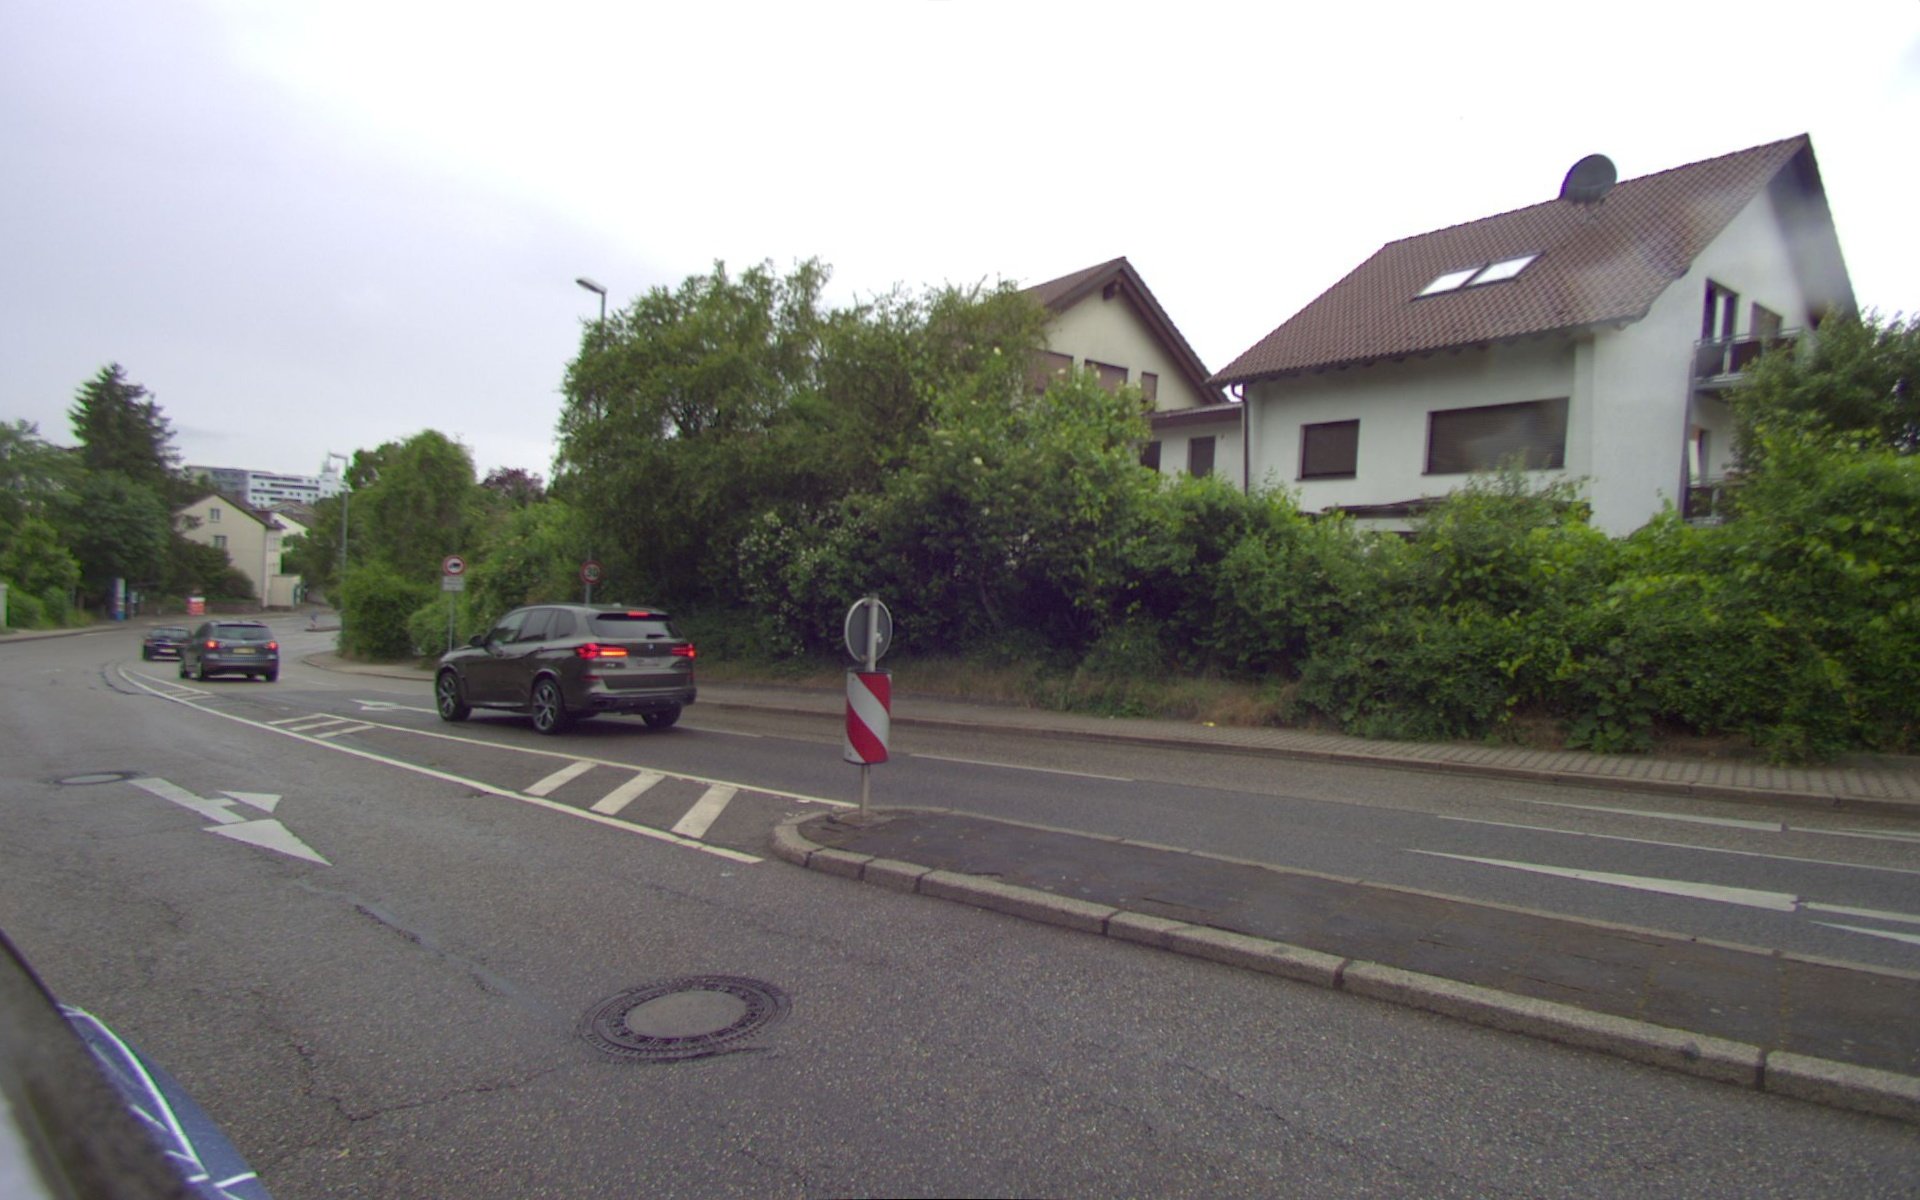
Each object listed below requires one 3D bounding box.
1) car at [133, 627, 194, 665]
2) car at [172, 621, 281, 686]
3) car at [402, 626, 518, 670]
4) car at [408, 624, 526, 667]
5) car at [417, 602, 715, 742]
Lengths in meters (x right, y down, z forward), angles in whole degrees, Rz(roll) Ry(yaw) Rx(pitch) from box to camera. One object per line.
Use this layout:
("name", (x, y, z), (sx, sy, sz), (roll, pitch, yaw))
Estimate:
("car", (-33.638, 1.911, 42.724), (1.871, 1.521, 4.007), (3, -3, -40))
("car", (-19.819, 1.404, 27.291), (1.722, 1.614, 4.034), (3, -4, -45))
("car", (-20.990, 1.965, 42.542), (3.939, 1.548, 2.003), (-3, 1, -42))
("car", (-19.509, 1.758, 40.099), (3.853, 1.451, 1.814), (-3, 1, -41))
("car", (-5.865, 0.962, 14.805), (4.712, 1.730, 1.974), (-1, -3, 39))
